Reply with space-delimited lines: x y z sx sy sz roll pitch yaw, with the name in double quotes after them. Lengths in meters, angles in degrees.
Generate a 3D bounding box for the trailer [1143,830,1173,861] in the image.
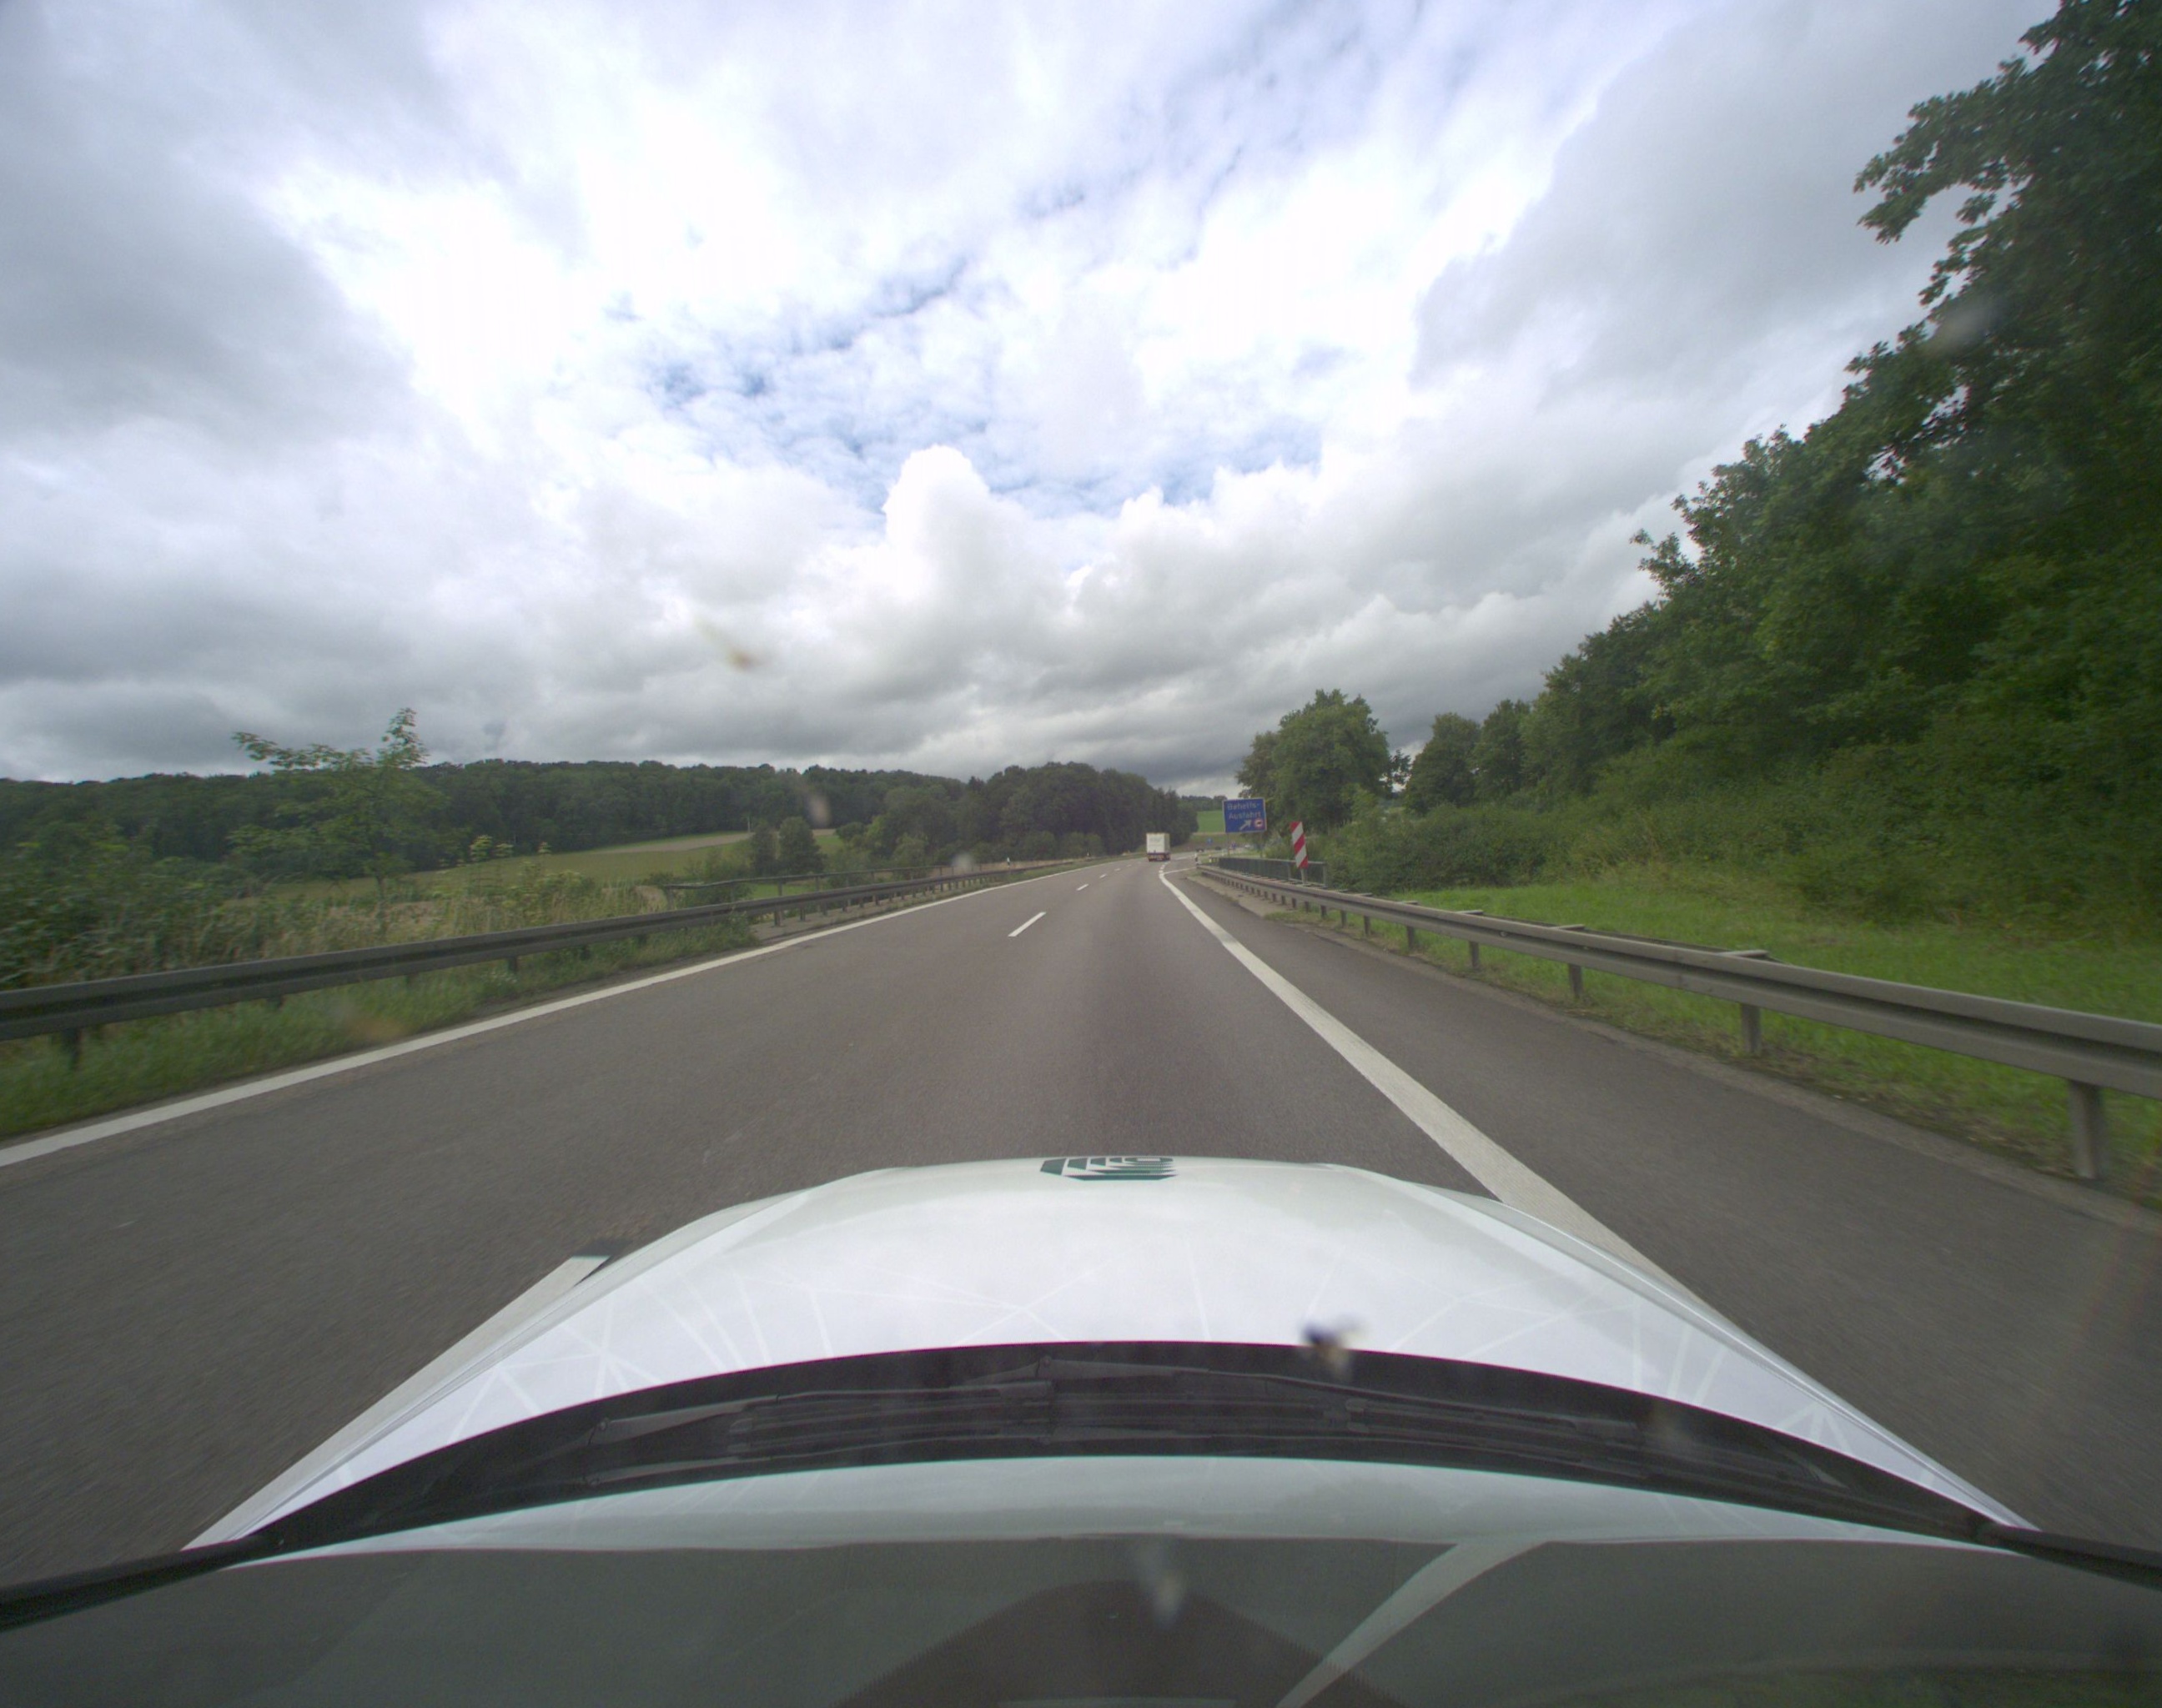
11.422 -1.226 119.456 3.785 4.174 14.840 -1 0 8 "trailer"

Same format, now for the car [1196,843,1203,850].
35.148 -2.254 242.015 1.891 1.795 4.010 -1 -1 10 "car"

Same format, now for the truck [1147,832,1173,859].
12.408 -1.328 127.043 3.768 4.131 8.281 -1 0 7 "truck"
